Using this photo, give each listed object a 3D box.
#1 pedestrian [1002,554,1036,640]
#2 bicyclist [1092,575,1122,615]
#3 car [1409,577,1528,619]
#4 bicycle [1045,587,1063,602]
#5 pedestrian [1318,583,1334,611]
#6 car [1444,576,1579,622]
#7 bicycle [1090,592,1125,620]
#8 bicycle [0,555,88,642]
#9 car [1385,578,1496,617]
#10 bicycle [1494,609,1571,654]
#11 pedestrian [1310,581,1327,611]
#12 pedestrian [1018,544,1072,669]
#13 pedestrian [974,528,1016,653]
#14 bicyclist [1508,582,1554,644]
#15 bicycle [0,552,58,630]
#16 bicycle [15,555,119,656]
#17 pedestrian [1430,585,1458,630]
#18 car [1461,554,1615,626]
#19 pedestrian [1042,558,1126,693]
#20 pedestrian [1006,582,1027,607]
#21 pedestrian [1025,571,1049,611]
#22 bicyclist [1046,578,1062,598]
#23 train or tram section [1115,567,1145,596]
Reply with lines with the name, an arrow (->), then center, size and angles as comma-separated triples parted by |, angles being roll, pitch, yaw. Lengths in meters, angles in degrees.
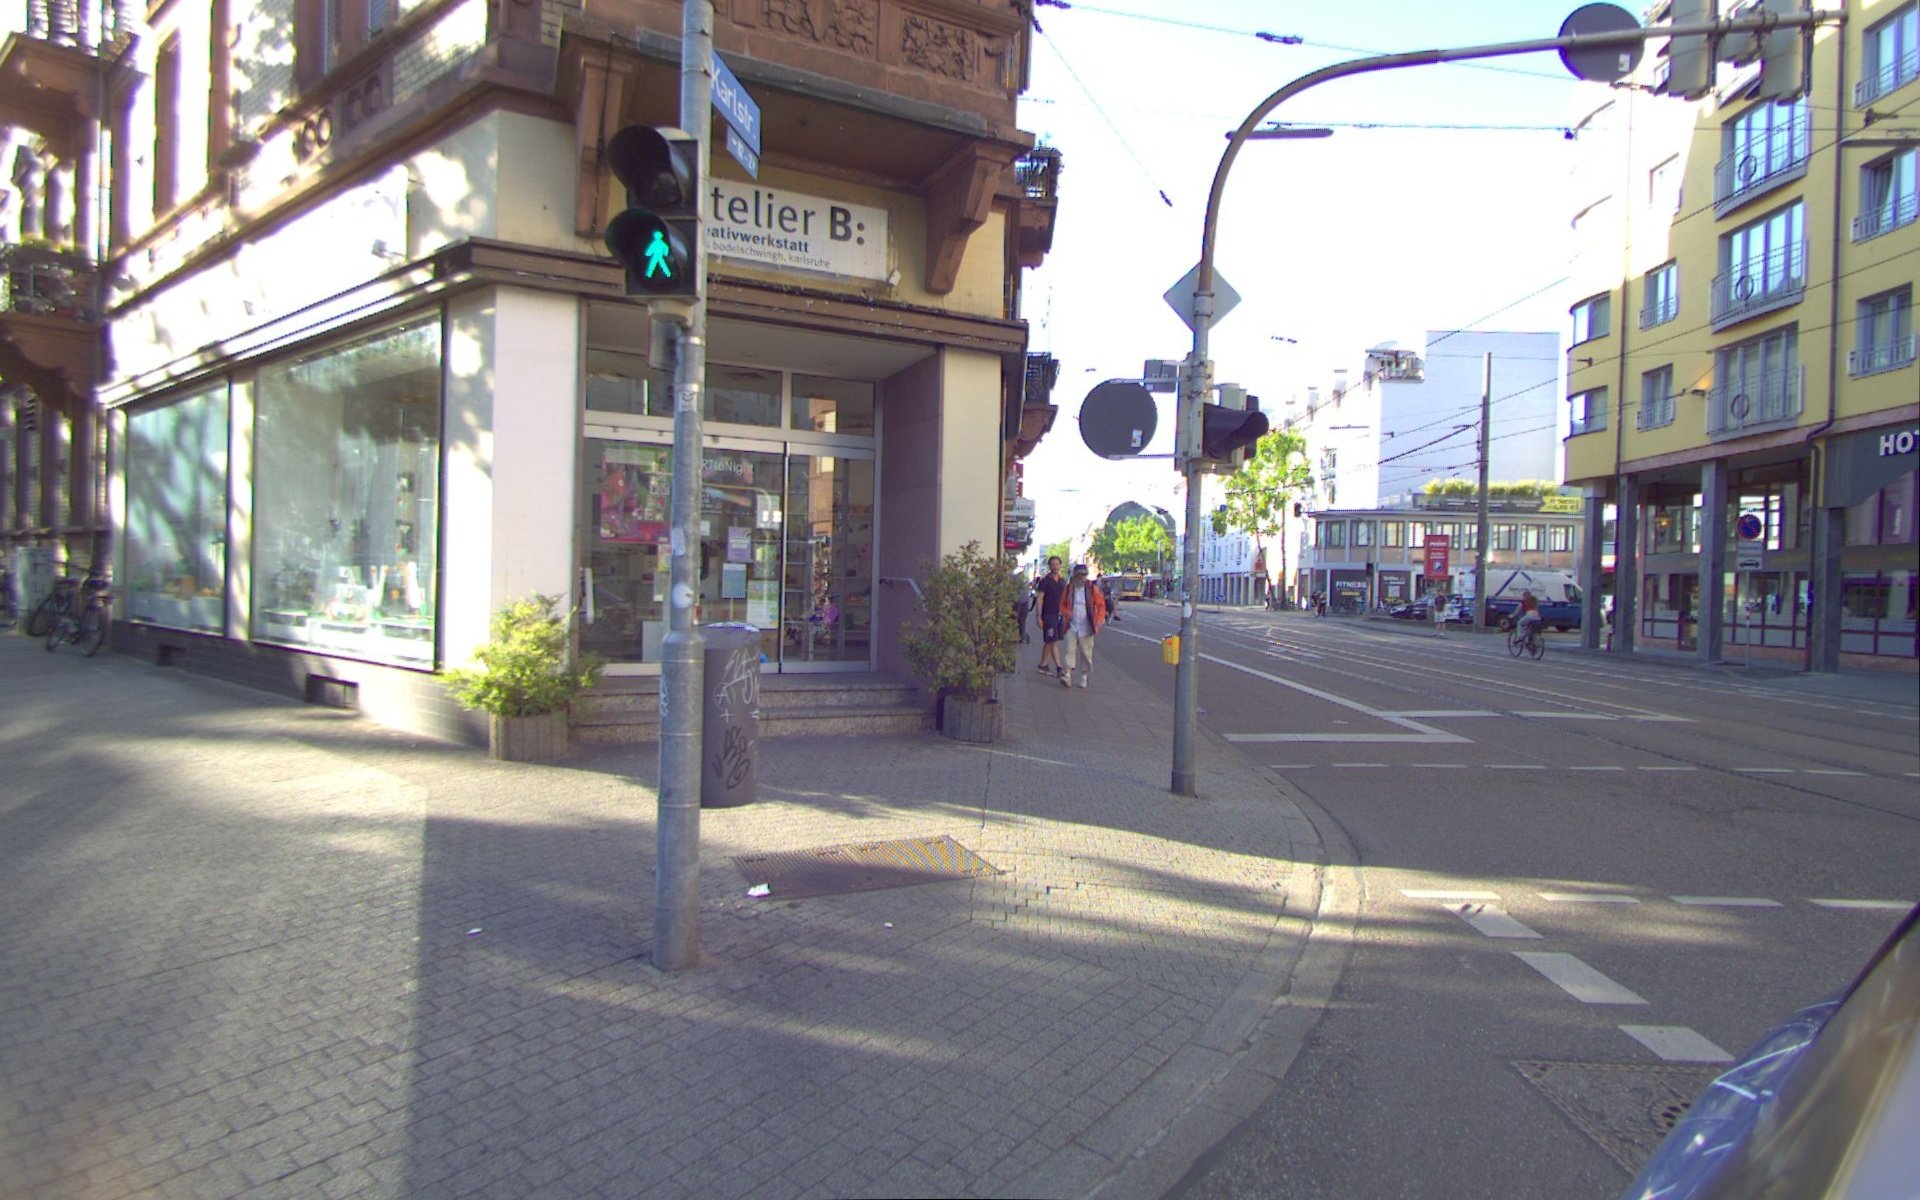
pedestrian -> 1.317, -0.074, 22.688 | 0.711, 1.861, 0.900 | 1, 1, 3
bicyclist -> 5.889, -0.210, 40.547 | 1.055, 1.557, 0.840 | 1, 1, 2
car -> 24.803, -0.127, 49.505 | 4.735, 1.860, 2.057 | 2, 1, 6
bicycle -> 6.730, -0.438, 72.785 | 1.055, 1.015, 3.061 | 1, 1, 2
pedestrian -> 22.239, -0.195, 61.527 | 0.605, 1.626, 0.899 | 1, 1, 0
car -> 24.186, -0.064, 44.558 | 4.735, 1.860, 2.057 | 2, 1, 6
bicycle -> 5.880, 0.223, 40.544 | 1.055, 1.015, 3.061 | 1, 1, 2
bicycle -> -13.532, -0.067, 14.912 | 2.582, 1.185, 0.663 | 2, 3, 41
car -> 24.816, -0.164, 52.400 | 4.735, 1.860, 2.057 | 2, 1, 6
bicycle -> 14.466, 0.771, 25.643 | 0.665, 1.016, 1.965 | 1, 1, -5
pedestrian -> 21.444, -0.253, 60.543 | 0.605, 1.751, 0.899 | 1, 1, 0
pedestrian -> 1.258, 0.090, 15.013 | 0.738, 1.797, 0.601 | 1, 1, 5
pedestrian -> 0.516, -0.145, 15.040 | 0.539, 1.797, 0.571 | 1, 1, -2
bicyclist -> 14.473, 0.315, 25.653 | 0.665, 1.538, 0.757 | 1, 1, -5
bicycle -> -15.449, -0.183, 16.592 | 2.582, 1.185, 0.663 | 2, 3, 41
bicycle -> -11.617, 0.021, 13.130 | 2.582, 1.185, 0.663 | 2, 3, 41
pedestrian -> 18.944, 0.297, 39.596 | 0.712, 1.716, 0.689 | 1, 1, 1
car -> 23.942, -0.423, 42.059 | 5.058, 2.792, 2.057 | 1, 1, 6
pedestrian -> 1.625, 0.310, 13.469 | 0.989, 1.701, 1.173 | 1, 1, 3
pedestrian -> 2.675, -0.260, 47.983 | 0.883, 1.191, 0.724 | 1, 1, 0
pedestrian -> 3.696, -0.432, 48.500 | 0.881, 1.861, 0.726 | 1, 1, -22
bicyclist -> 6.750, -0.874, 72.791 | 1.055, 1.426, 0.838 | 1, 1, 2
train or tram section -> 19.647, -2.169, 117.511 | 2.239, 3.178, 10.035 | 1, 1, 3
